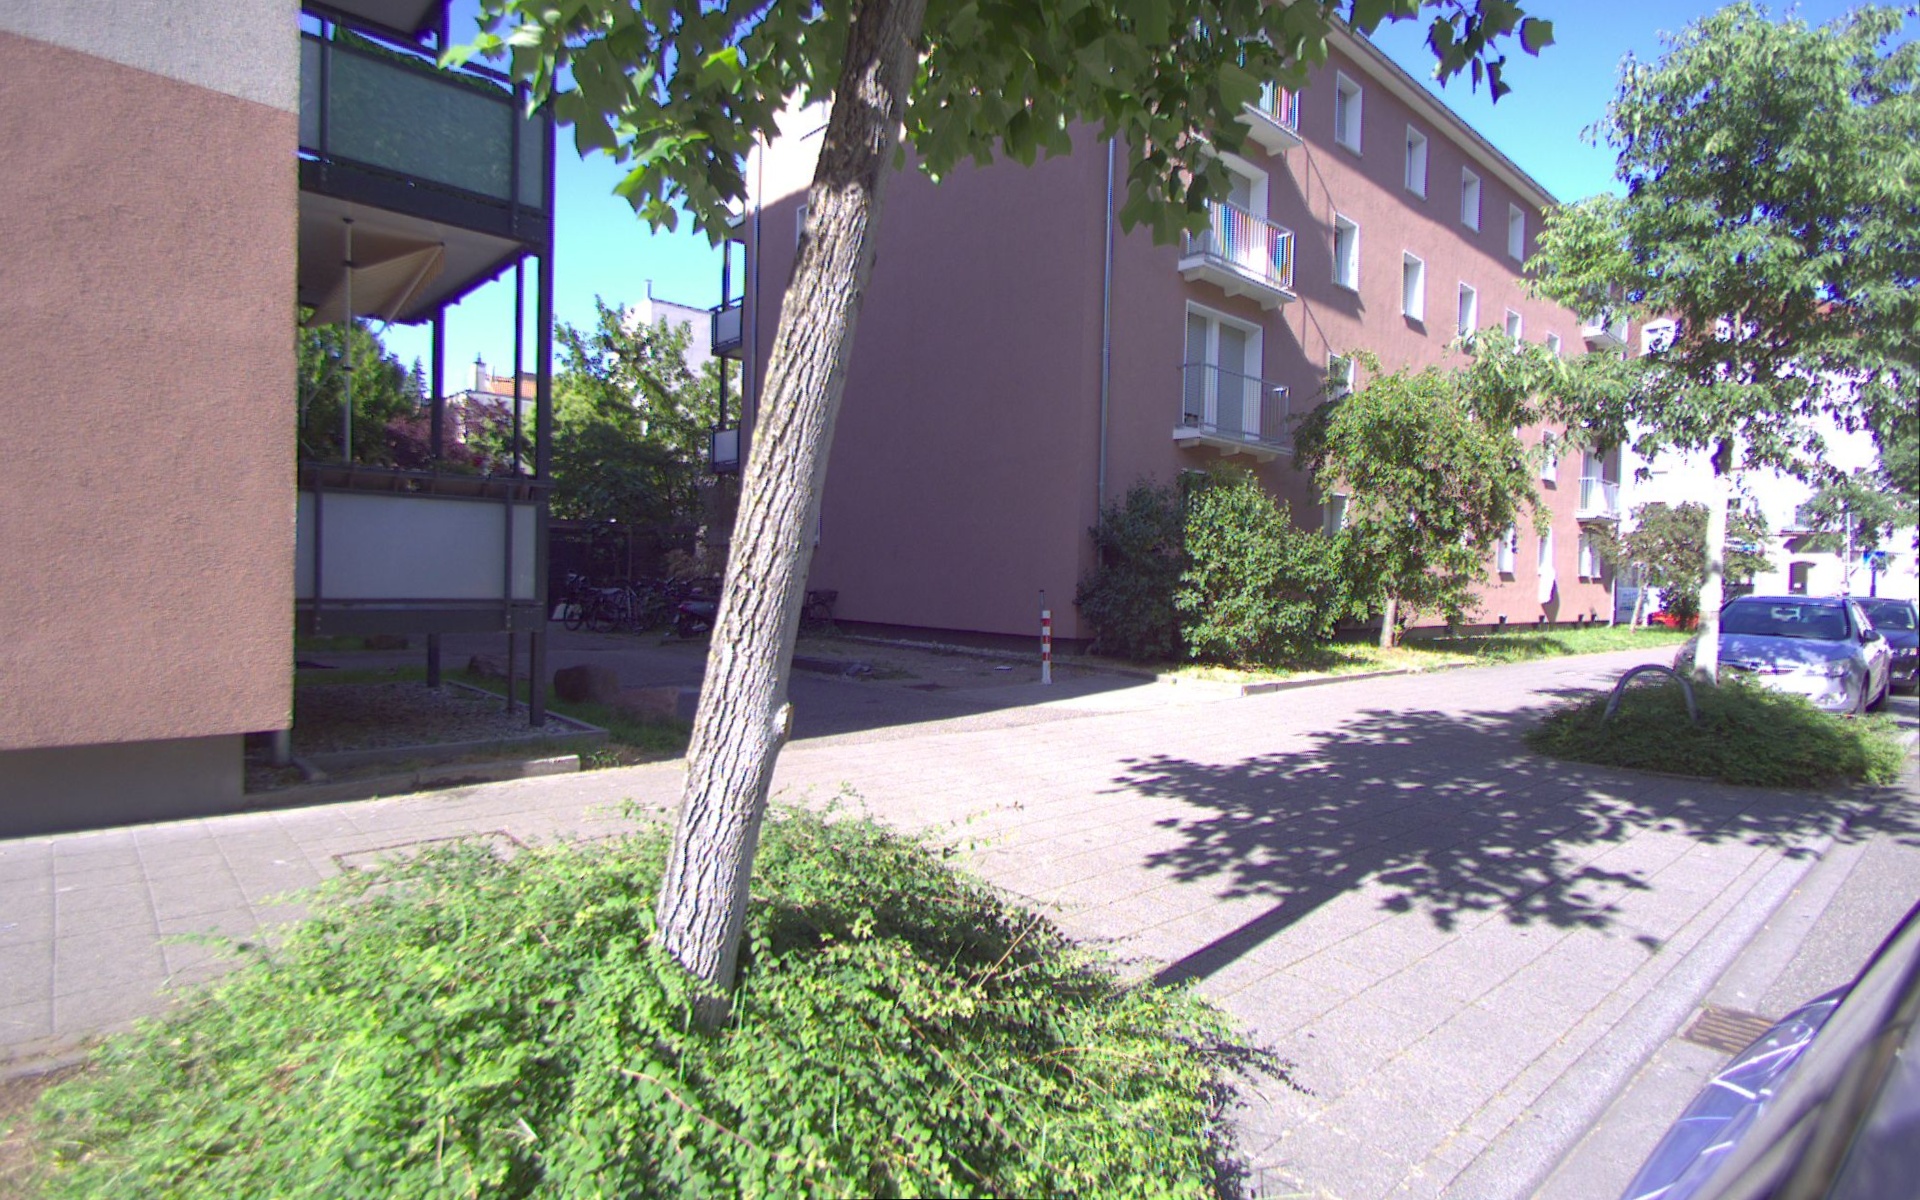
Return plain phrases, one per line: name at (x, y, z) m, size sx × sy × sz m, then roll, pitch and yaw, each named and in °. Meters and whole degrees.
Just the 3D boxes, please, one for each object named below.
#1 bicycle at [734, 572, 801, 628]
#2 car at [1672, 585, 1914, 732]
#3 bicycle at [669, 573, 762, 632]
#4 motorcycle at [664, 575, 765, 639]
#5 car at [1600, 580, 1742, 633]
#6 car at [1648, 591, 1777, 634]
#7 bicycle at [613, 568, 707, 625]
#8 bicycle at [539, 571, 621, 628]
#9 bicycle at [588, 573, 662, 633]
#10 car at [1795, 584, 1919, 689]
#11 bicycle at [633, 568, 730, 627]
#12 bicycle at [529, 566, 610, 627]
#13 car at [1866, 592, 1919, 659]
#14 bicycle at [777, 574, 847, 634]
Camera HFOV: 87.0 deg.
bicycle at (-4.047, -0.010, 21.217) m, size 0.548 × 1.112 × 1.716 m, roll 0°, pitch 1°, yaw -43°
car at (10.389, 0.587, 12.524) m, size 3.932 × 1.471 × 1.719 m, roll -1°, pitch 3°, yaw -42°
bicycle at (-4.911, 0.042, 20.365) m, size 1.741 × 1.120 × 0.567 m, roll 0°, pitch 2°, yaw -41°
motorcycle at (-4.500, 0.112, 18.609) m, size 1.741 × 1.120 × 0.526 m, roll 0°, pitch 2°, yaw -41°
car at (30.406, 0.229, 43.365) m, size 4.743 × 2.039 × 1.969 m, roll 3°, pitch 2°, yaw 44°
car at (28.218, 0.434, 38.025) m, size 1.541 × 1.419 × 3.645 m, roll 0°, pitch 2°, yaw -42°
bicycle at (-6.391, -0.072, 21.638) m, size 1.848 × 1.166 × 0.578 m, roll 0°, pitch 1°, yaw -41°
bicycle at (-7.717, -0.012, 20.573) m, size 1.454 × 1.112 × 0.556 m, roll 0°, pitch 1°, yaw -41°
bicycle at (-6.613, 0.036, 19.959) m, size 1.712 × 1.112 × 0.549 m, roll 2°, pitch 1°, yaw 39°
car at (15.161, 0.528, 16.584) m, size 4.237 × 1.500 × 1.660 m, roll 0°, pitch 2°, yaw -42°
bicycle at (-5.758, -0.049, 20.985) m, size 1.848 × 1.166 × 0.578 m, roll 0°, pitch 1°, yaw -41°
bicycle at (-8.103, -0.072, 21.041) m, size 1.454 × 1.221 × 0.556 m, roll 0°, pitch 1°, yaw -41°
car at (22.616, 0.575, 23.633) m, size 3.931 × 1.446 × 1.734 m, roll 0°, pitch 2°, yaw -42°
bicycle at (-2.930, 0.064, 19.995) m, size 0.584 × 1.112 × 1.537 m, roll 0°, pitch 1°, yaw -43°
